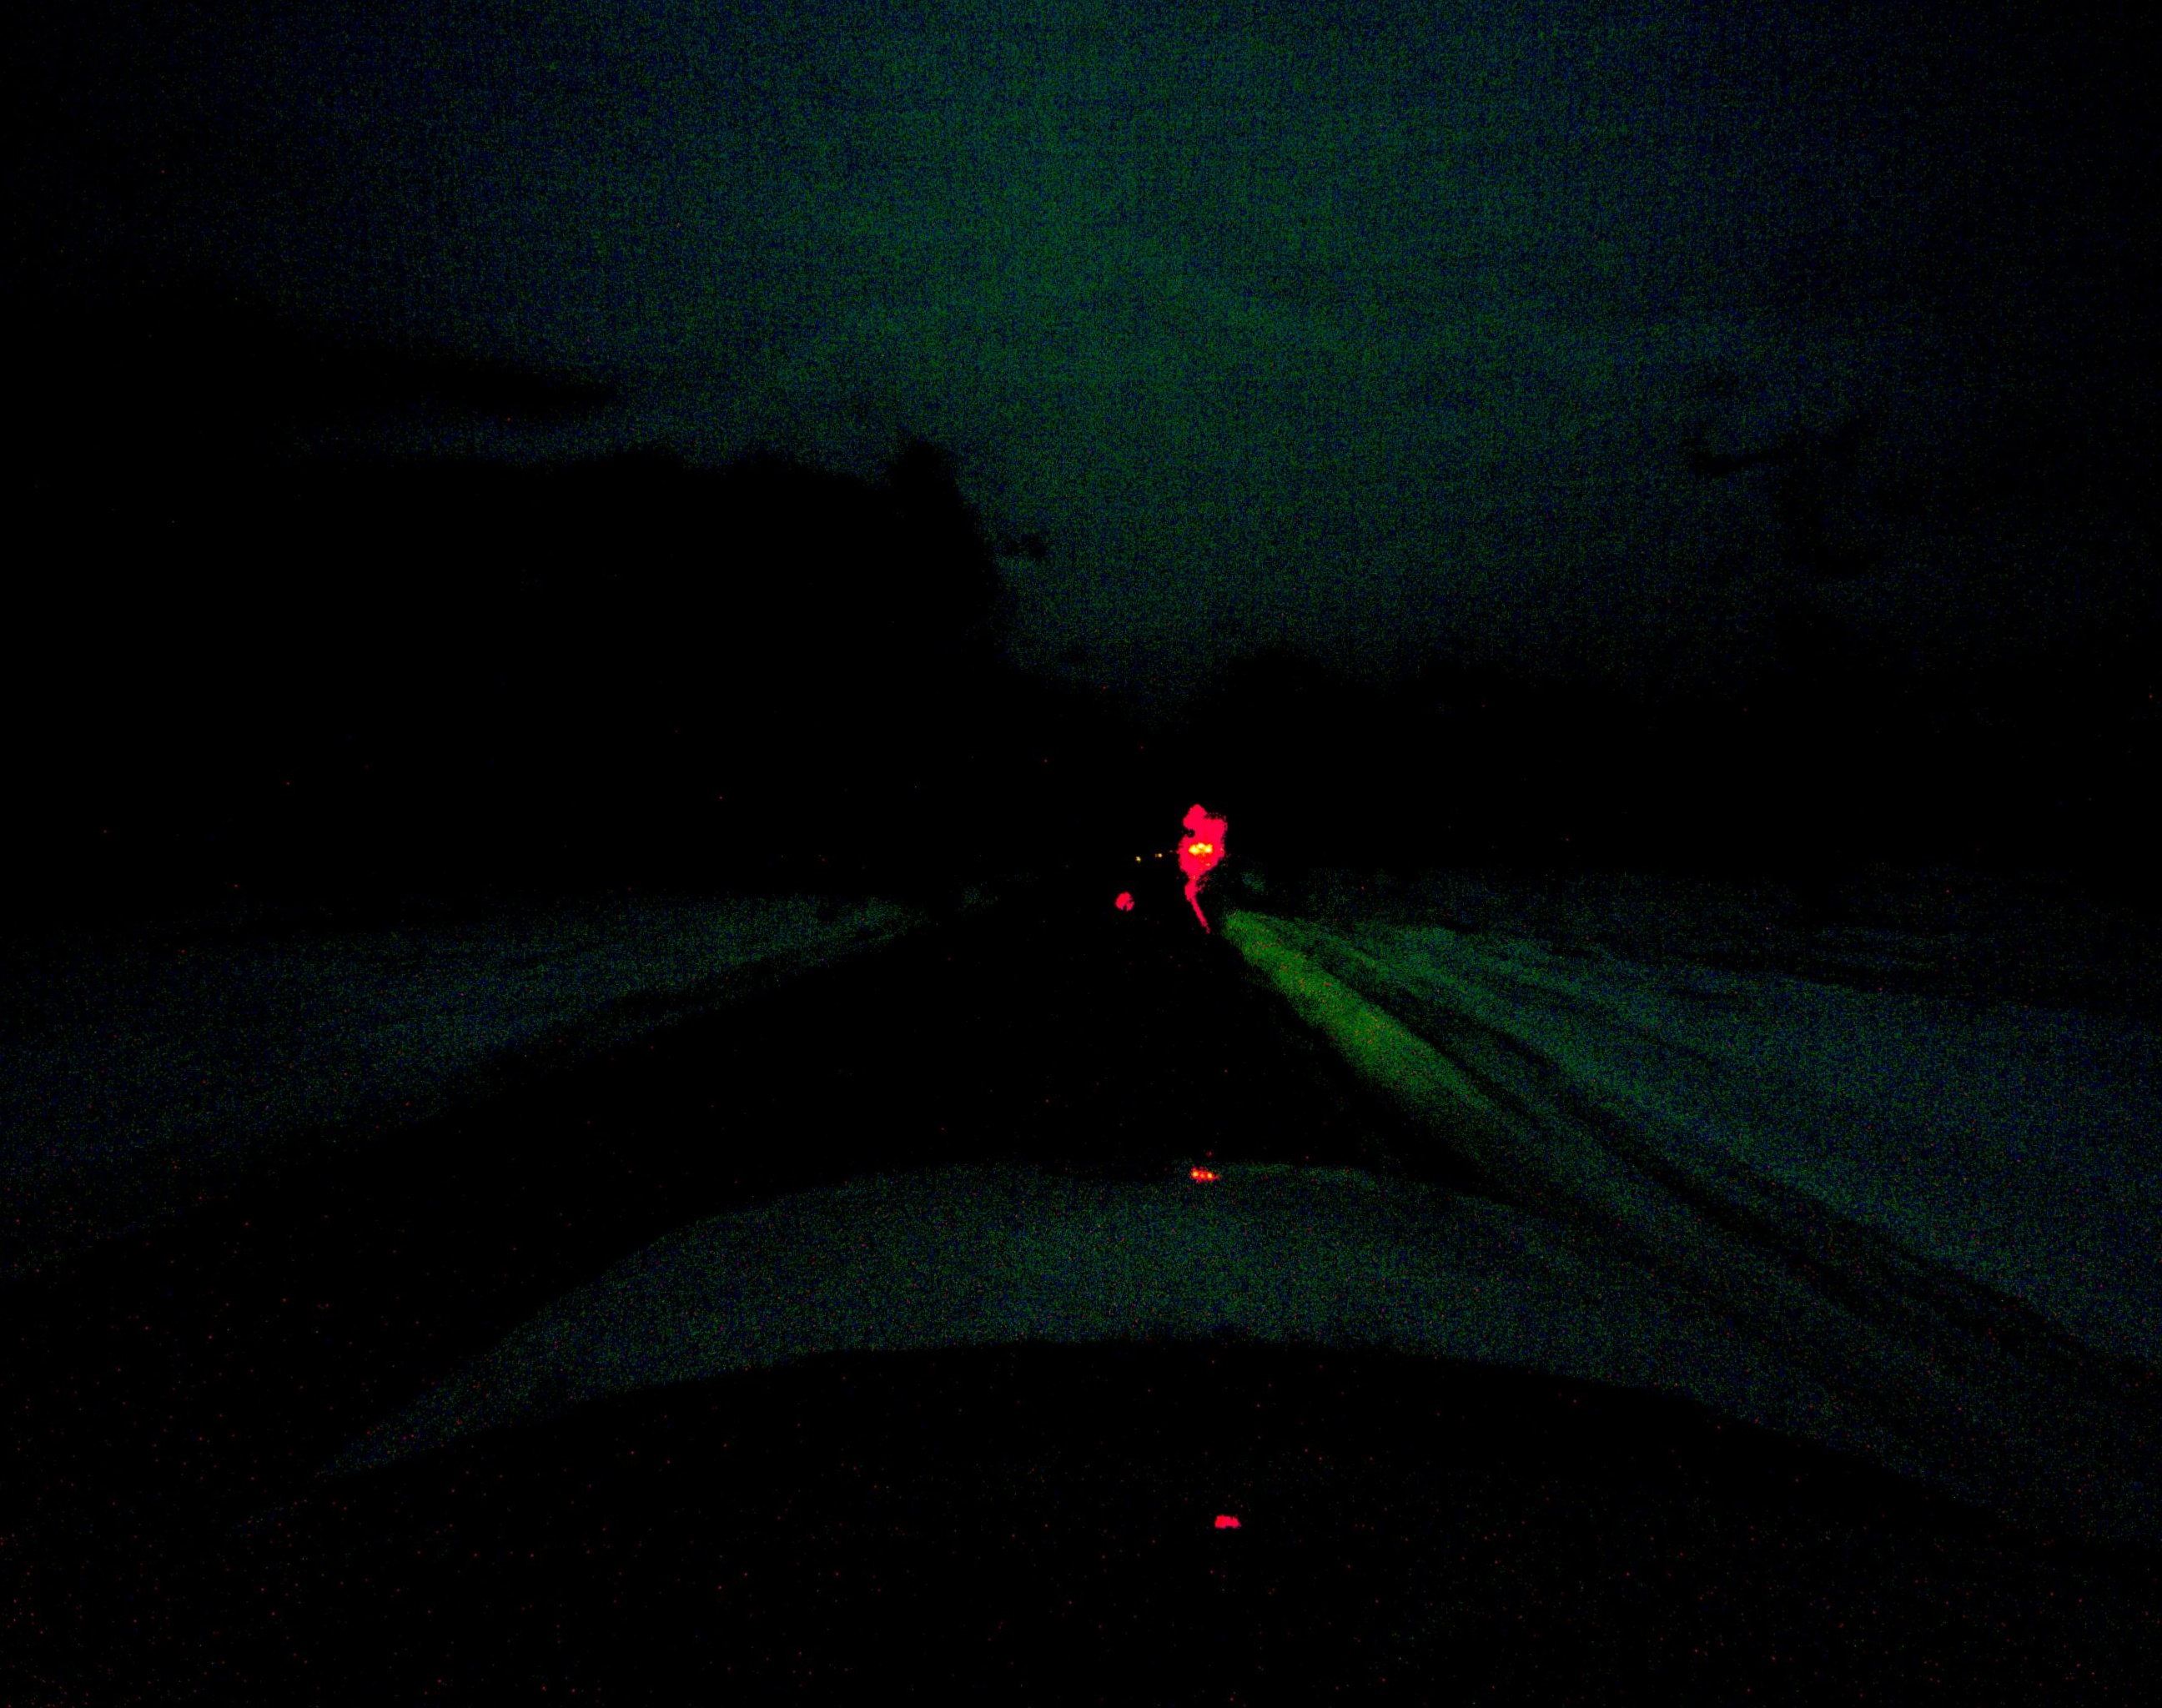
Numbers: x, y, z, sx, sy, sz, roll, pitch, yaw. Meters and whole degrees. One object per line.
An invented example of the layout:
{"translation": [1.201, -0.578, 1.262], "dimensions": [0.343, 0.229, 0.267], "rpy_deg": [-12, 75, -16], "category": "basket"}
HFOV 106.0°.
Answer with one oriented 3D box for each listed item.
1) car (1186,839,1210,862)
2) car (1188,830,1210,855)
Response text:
{"translation": [10.864, -0.366, 75.805], "dimensions": [1.984, 2.051, 4.006], "rpy_deg": [-1, 1, 5], "category": "car"}
{"translation": [13.713, -1.322, 94.780], "dimensions": [2.241, 2.645, 5.014], "rpy_deg": [-2, 0, 5], "category": "car"}
